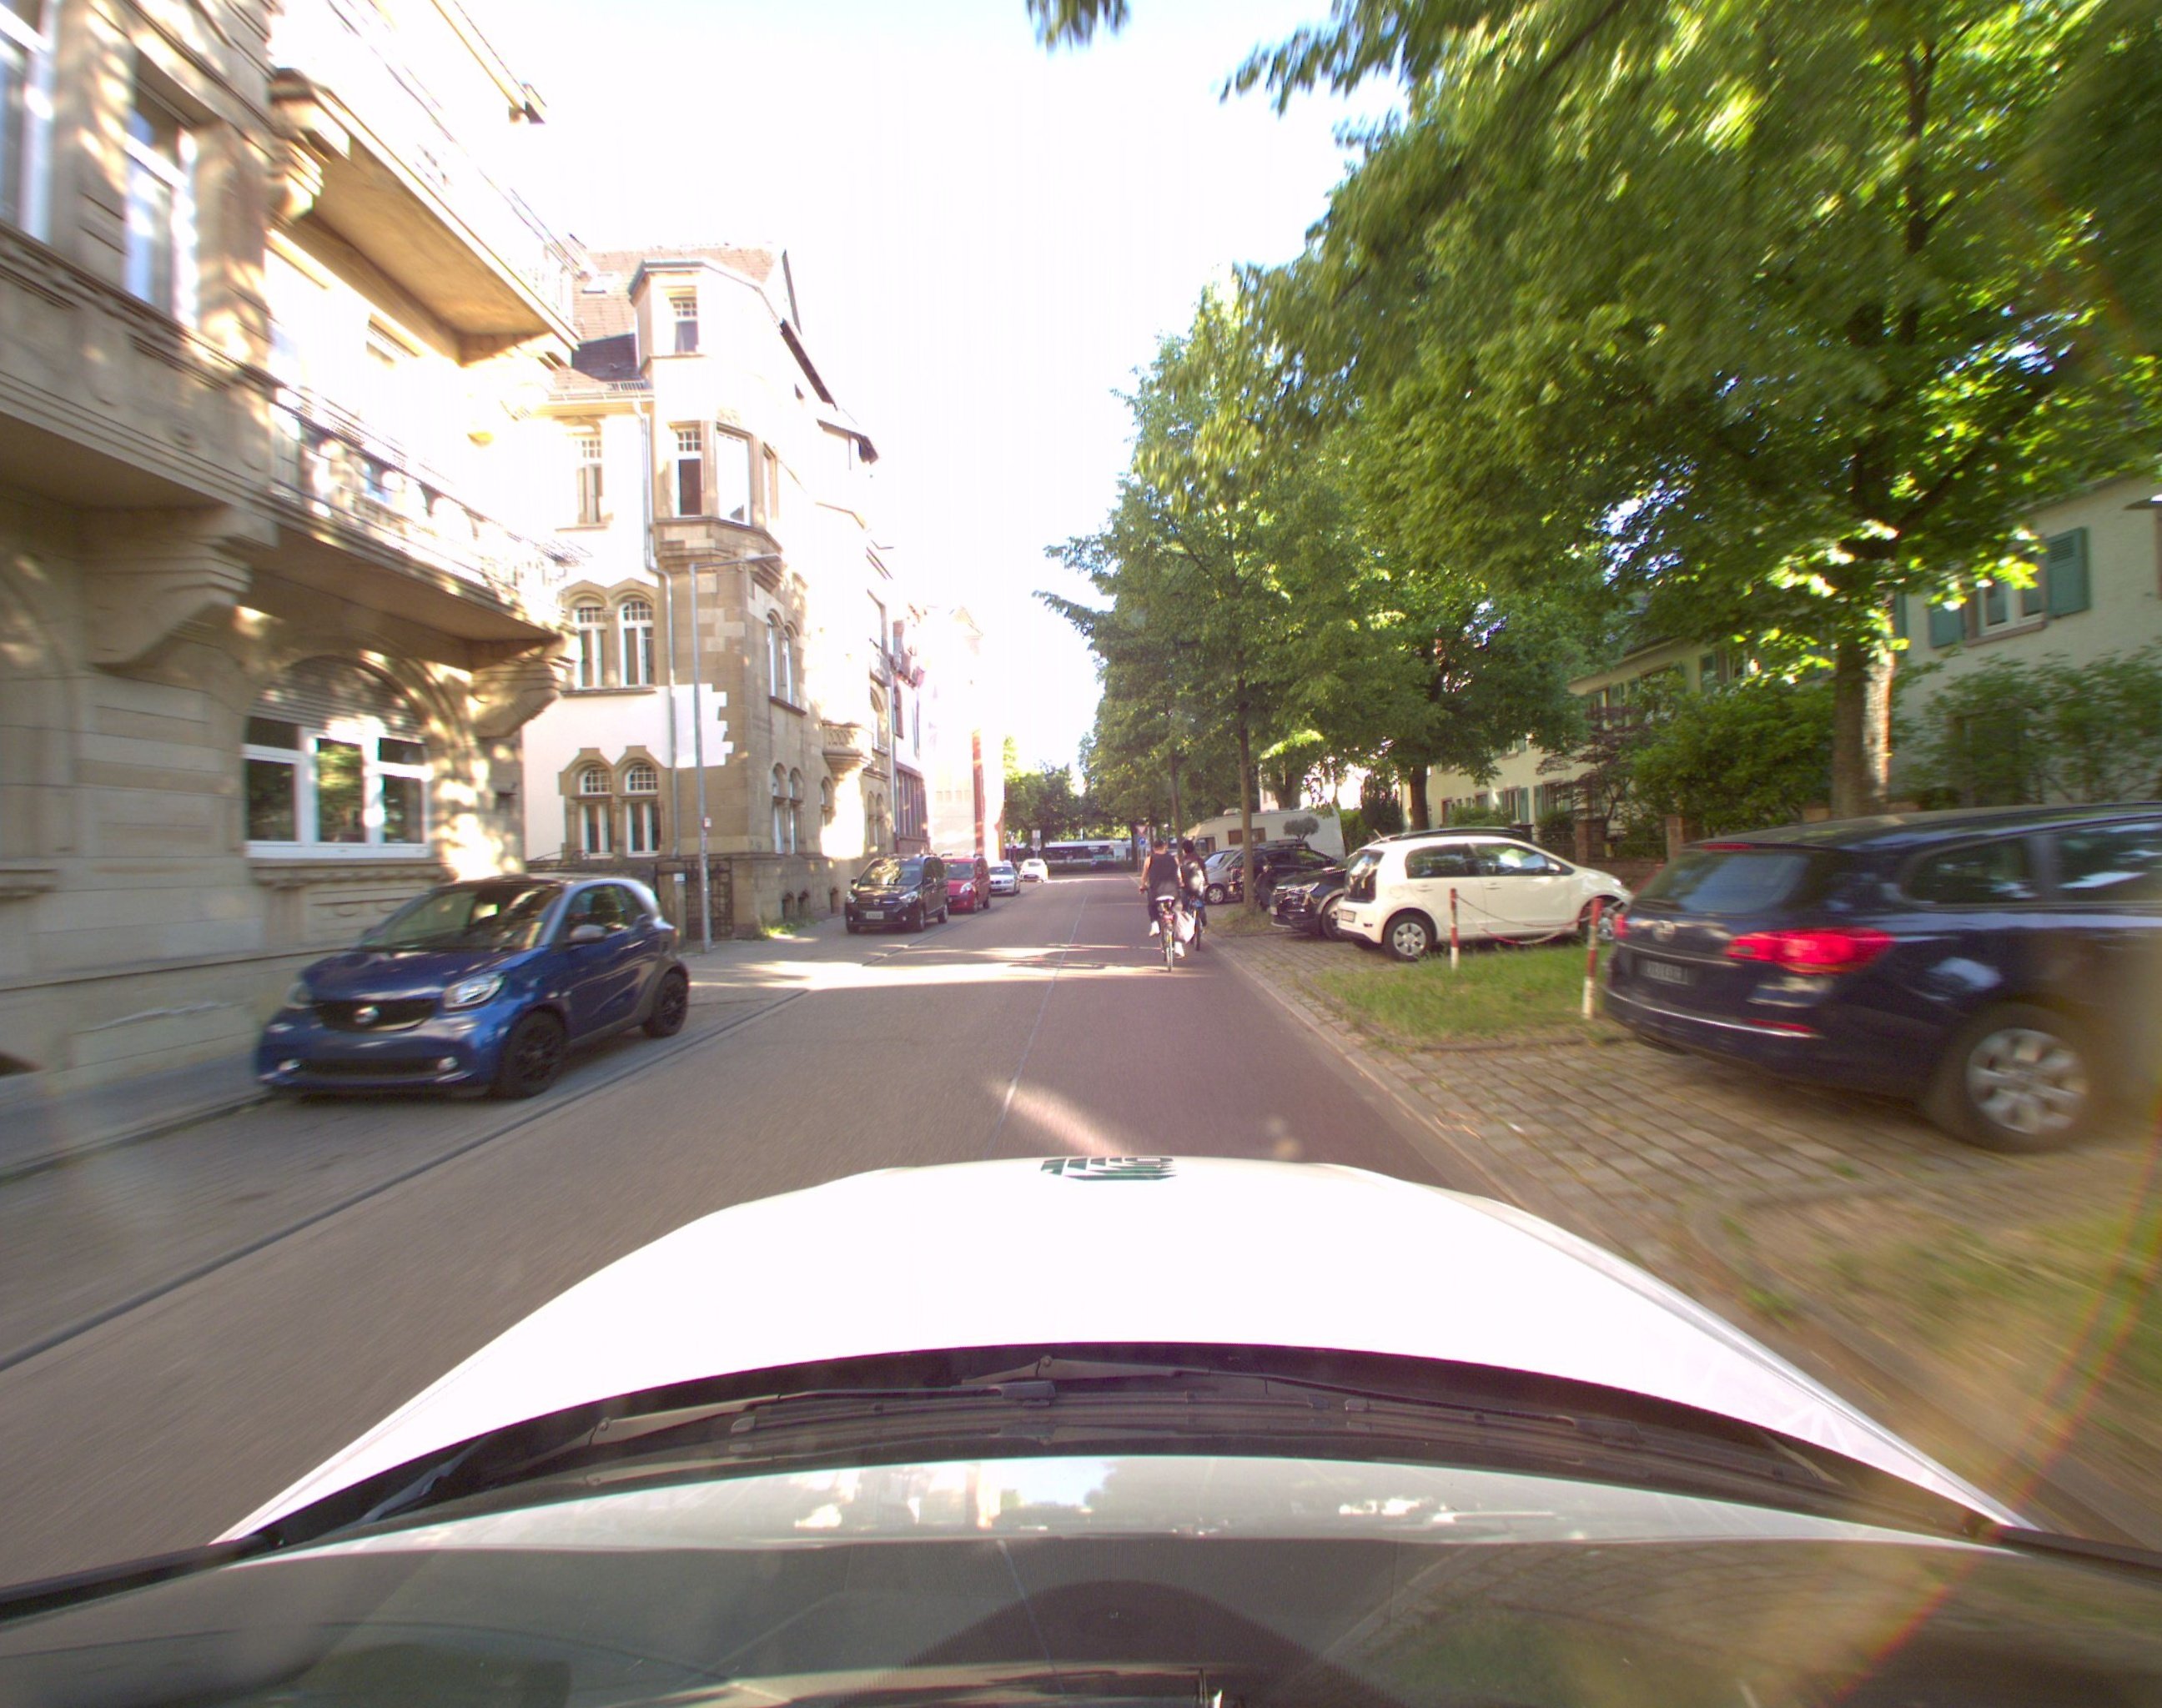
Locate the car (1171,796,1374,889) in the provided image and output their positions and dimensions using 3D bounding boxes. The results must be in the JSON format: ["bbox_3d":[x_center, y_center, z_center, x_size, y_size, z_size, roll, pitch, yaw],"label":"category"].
[{"bbox_3d":[7.318,-0.427,31.696,7.127,2.978,2.463,-4,-1,-2],"label":"car"}]

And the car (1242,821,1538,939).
[{"bbox_3d":[4.862,0.434,13.276,4.121,1.600,1.704,-3,-2,3],"label":"car"}]

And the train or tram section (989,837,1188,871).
[{"bbox_3d":[1.154,-0.082,97.513,23.893,3.708,4.255,-1,-1,-21],"label":"train or tram section"}]

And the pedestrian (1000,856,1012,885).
[{"bbox_3d":[-4.652,1.017,50.531,0.607,1.762,0.432,-1,-1,1],"label":"pedestrian"}]

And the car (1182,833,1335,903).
[{"bbox_3d":[5.192,0.409,24.165,4.071,1.650,1.640,-5,-1,-1],"label":"car"}]

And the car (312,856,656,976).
[{"bbox_3d":[-9.395,0.934,13.076,4.185,1.668,1.718,-2,0,0],"label":"car"}]

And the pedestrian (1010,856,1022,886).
[{"bbox_3d":[-3.751,0.981,47.280,0.607,1.679,0.518,-1,-1,2],"label":"pedestrian"}]

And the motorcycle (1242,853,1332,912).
[{"bbox_3d":[4.209,0.583,16.686,1.587,1.141,0.677,-3,-1,34],"label":"motorcycle"}]

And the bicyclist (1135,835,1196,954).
[{"bbox_3d":[1.135,0.538,11.114,0.727,1.548,0.884,0,-1,0],"label":"bicyclist"}]

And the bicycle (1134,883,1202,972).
[{"bbox_3d":[1.138,0.945,11.069,0.735,1.054,1.956,0,-1,1],"label":"bicycle"}]

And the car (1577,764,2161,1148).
[{"bbox_3d":[5.317,0.409,4.340,4.205,1.600,1.692,-3,-2,3],"label":"car"}]

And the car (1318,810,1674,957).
[{"bbox_3d":[5.251,0.368,10.698,3.757,1.599,1.692,-3,-1,3],"label":"car"}]

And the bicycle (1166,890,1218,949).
[{"bbox_3d":[1.815,1.060,13.552,0.631,0.799,1.833,-3,0,1],"label":"bicycle"}]

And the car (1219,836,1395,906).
[{"bbox_3d":[5.923,0.462,21.642,4.127,1.600,1.701,-3,-2,-1],"label":"car"}]

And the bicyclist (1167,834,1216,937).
[{"bbox_3d":[1.813,0.500,13.499,0.686,1.626,0.999,-1,0,2],"label":"bicyclist"}]

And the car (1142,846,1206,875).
[{"bbox_3d":[6.140,0.458,53.899,3.975,1.803,1.833,-1,-1,-1],"label":"car"}]

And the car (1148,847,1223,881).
[{"bbox_3d":[5.851,0.549,46.012,3.975,1.803,1.833,-1,-1,-1],"label":"car"}]

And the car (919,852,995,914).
[{"bbox_3d":[-3.936,0.868,26.520,1.682,1.825,4.275,0,0,2],"label":"car"}]

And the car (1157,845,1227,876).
[{"bbox_3d":[6.735,0.389,49.755,3.975,1.803,1.833,-1,-1,-1],"label":"car"}]

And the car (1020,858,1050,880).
[{"bbox_3d":[-3.079,0.995,55.059,1.577,1.375,4.133,0,0,2],"label":"car"}]

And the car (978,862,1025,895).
[{"bbox_3d":[-3.596,1.075,37.407,1.577,1.343,4.133,0,0,2],"label":"car"}]

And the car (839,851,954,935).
[{"bbox_3d":[-4.288,0.835,19.621,1.634,1.783,4.356,0,0,2],"label":"car"}]

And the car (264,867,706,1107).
[{"bbox_3d":[-4.551,0.903,6.730,1.590,1.489,2.736,1,0,0],"label":"car"}]
